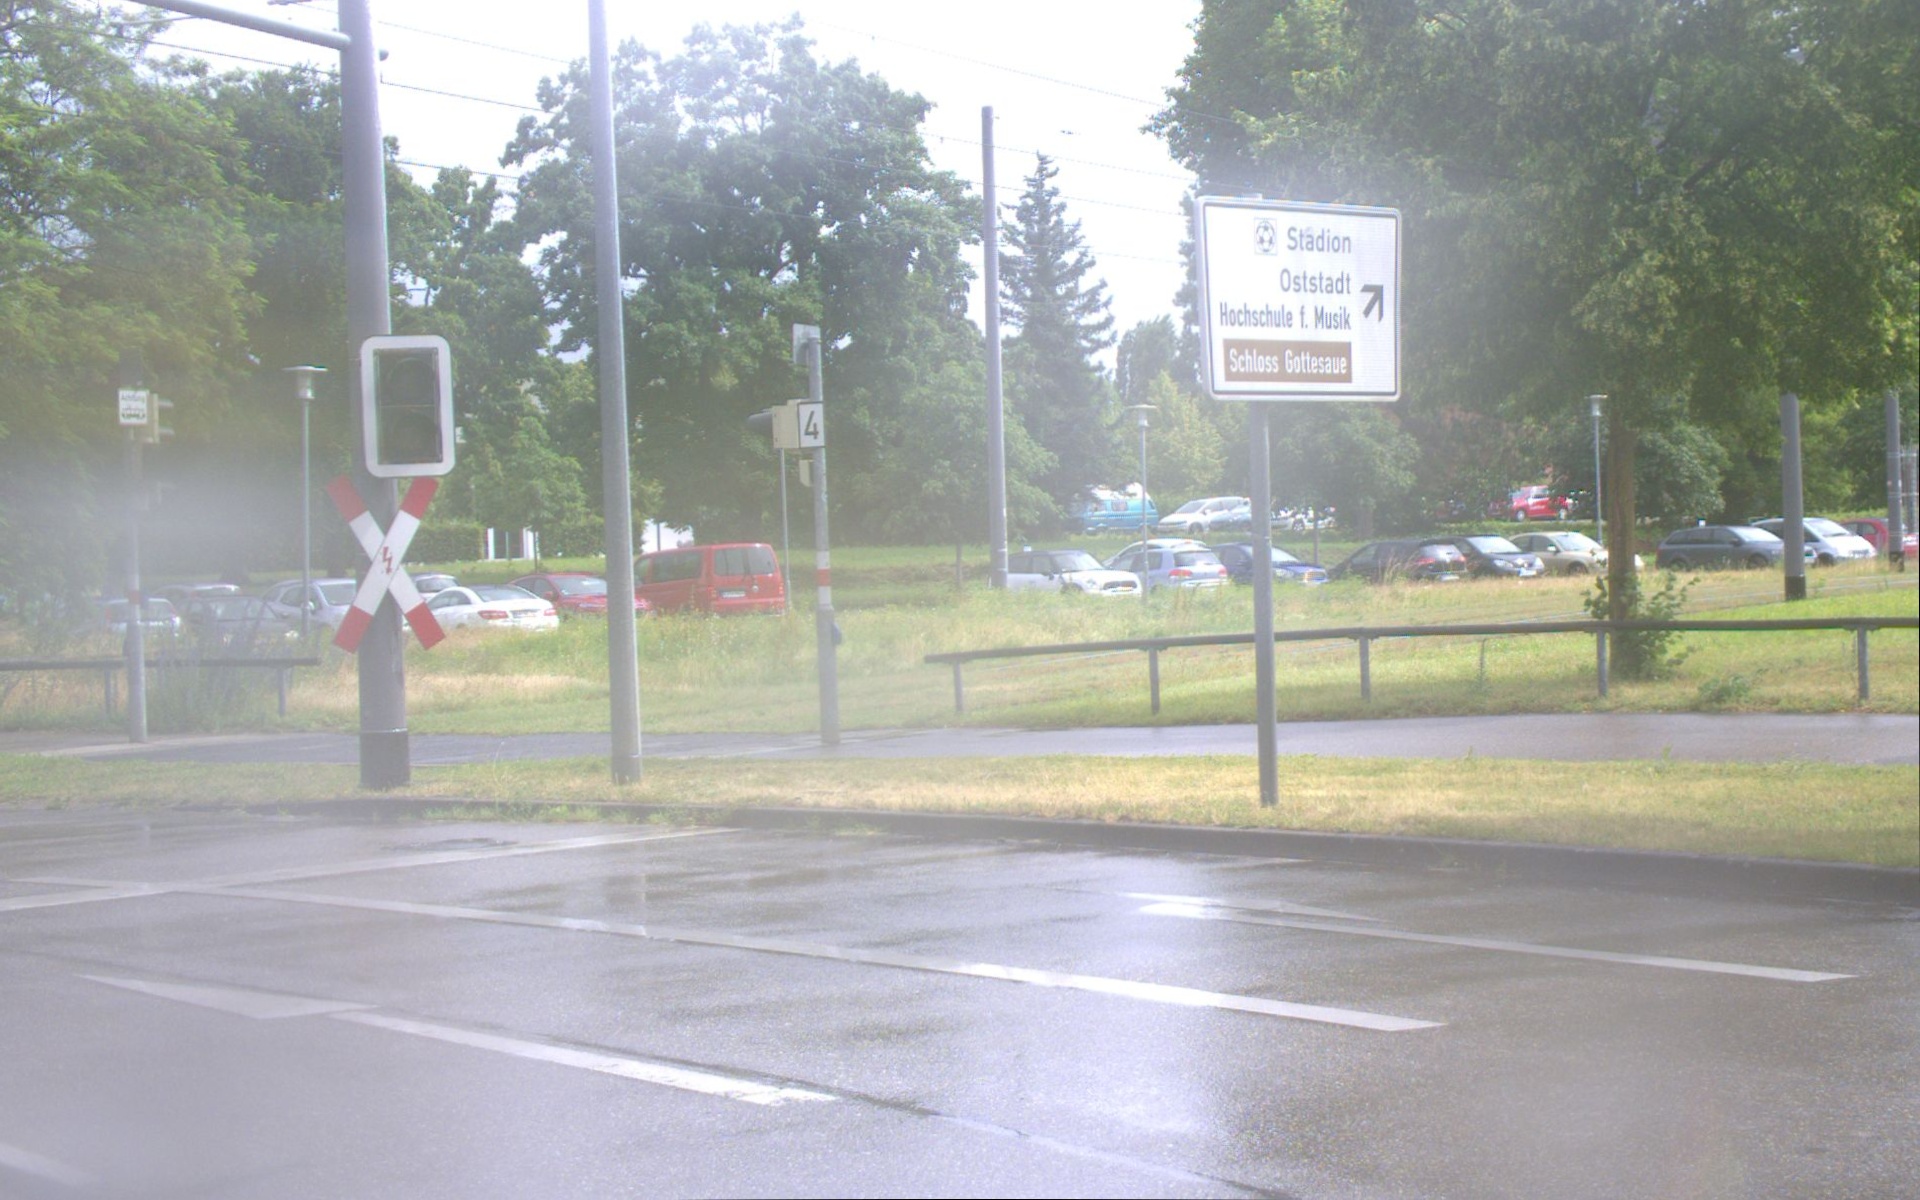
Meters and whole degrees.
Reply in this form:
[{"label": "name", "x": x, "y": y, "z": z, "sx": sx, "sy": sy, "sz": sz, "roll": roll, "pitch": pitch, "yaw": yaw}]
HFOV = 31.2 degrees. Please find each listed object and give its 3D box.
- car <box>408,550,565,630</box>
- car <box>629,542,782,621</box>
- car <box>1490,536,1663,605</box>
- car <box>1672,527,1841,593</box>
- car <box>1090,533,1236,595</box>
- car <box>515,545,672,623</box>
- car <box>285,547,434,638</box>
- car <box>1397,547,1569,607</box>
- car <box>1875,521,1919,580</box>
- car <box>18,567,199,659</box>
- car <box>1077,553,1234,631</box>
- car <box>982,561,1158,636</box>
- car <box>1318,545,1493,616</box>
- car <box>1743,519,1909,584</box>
[{"label": "car", "x": -9.270, "y": -0.184, "z": 67.115, "sx": 1.640, "sy": 1.457, "sz": 3.610, "roll": -3, "pitch": 1, "yaw": -32}, {"label": "car", "x": -5.215, "y": -0.357, "z": 70.117, "sx": 1.645, "sy": 1.505, "sz": 3.650, "roll": -3, "pitch": 1, "yaw": -30}, {"label": "car", "x": 15.107, "y": -0.710, "z": 84.408, "sx": 1.845, "sy": 1.554, "sz": 3.978, "roll": -3, "pitch": 1, "yaw": -35}, {"label": "car", "x": 20.478, "y": -1.017, "z": 88.500, "sx": 1.845, "sy": 1.554, "sz": 3.978, "roll": -3, "pitch": 1, "yaw": -35}, {"label": "car", "x": 5.482, "y": -0.960, "z": 93.072, "sx": 1.793, "sy": 1.522, "sz": 3.999, "roll": -3, "pitch": 1, "yaw": -35}, {"label": "car", "x": -7.350, "y": -0.309, "z": 68.771, "sx": 1.640, "sy": 1.457, "sz": 3.610, "roll": -3, "pitch": 1, "yaw": -32}, {"label": "car", "x": -11.614, "y": -0.135, "z": 66.354, "sx": 1.545, "sy": 1.653, "sz": 3.650, "roll": -3, "pitch": 1, "yaw": -31}, {"label": "car", "x": 12.620, "y": -0.540, "z": 83.145, "sx": 1.845, "sy": 1.303, "sz": 3.978, "roll": -3, "pitch": 1, "yaw": -35}, {"label": "car", "x": 26.867, "y": -1.382, "z": 92.588, "sx": 1.845, "sy": 1.554, "sz": 3.978, "roll": -3, "pitch": 1, "yaw": -35}, {"label": "car", "x": -15.538, "y": 0.250, "z": 62.614, "sx": 1.845, "sy": 1.554, "sz": 3.978, "roll": -3, "pitch": 1, "yaw": -35}, {"label": "car", "x": 4.377, "y": -0.166, "z": 77.266, "sx": 1.545, "sy": 1.654, "sz": 3.628, "roll": -3, "pitch": 1, "yaw": -35}, {"label": "car", "x": 2.400, "y": -0.025, "z": 75.980, "sx": 1.793, "sy": 1.522, "sz": 3.999, "roll": -3, "pitch": 1, "yaw": -35}, {"label": "car", "x": 10.519, "y": -0.449, "z": 81.410, "sx": 1.845, "sy": 1.554, "sz": 3.978, "roll": -3, "pitch": 1, "yaw": -35}, {"label": "car", "x": 22.941, "y": -1.273, "z": 91.202, "sx": 1.845, "sy": 1.554, "sz": 3.978, "roll": -3, "pitch": 1, "yaw": -35}]
